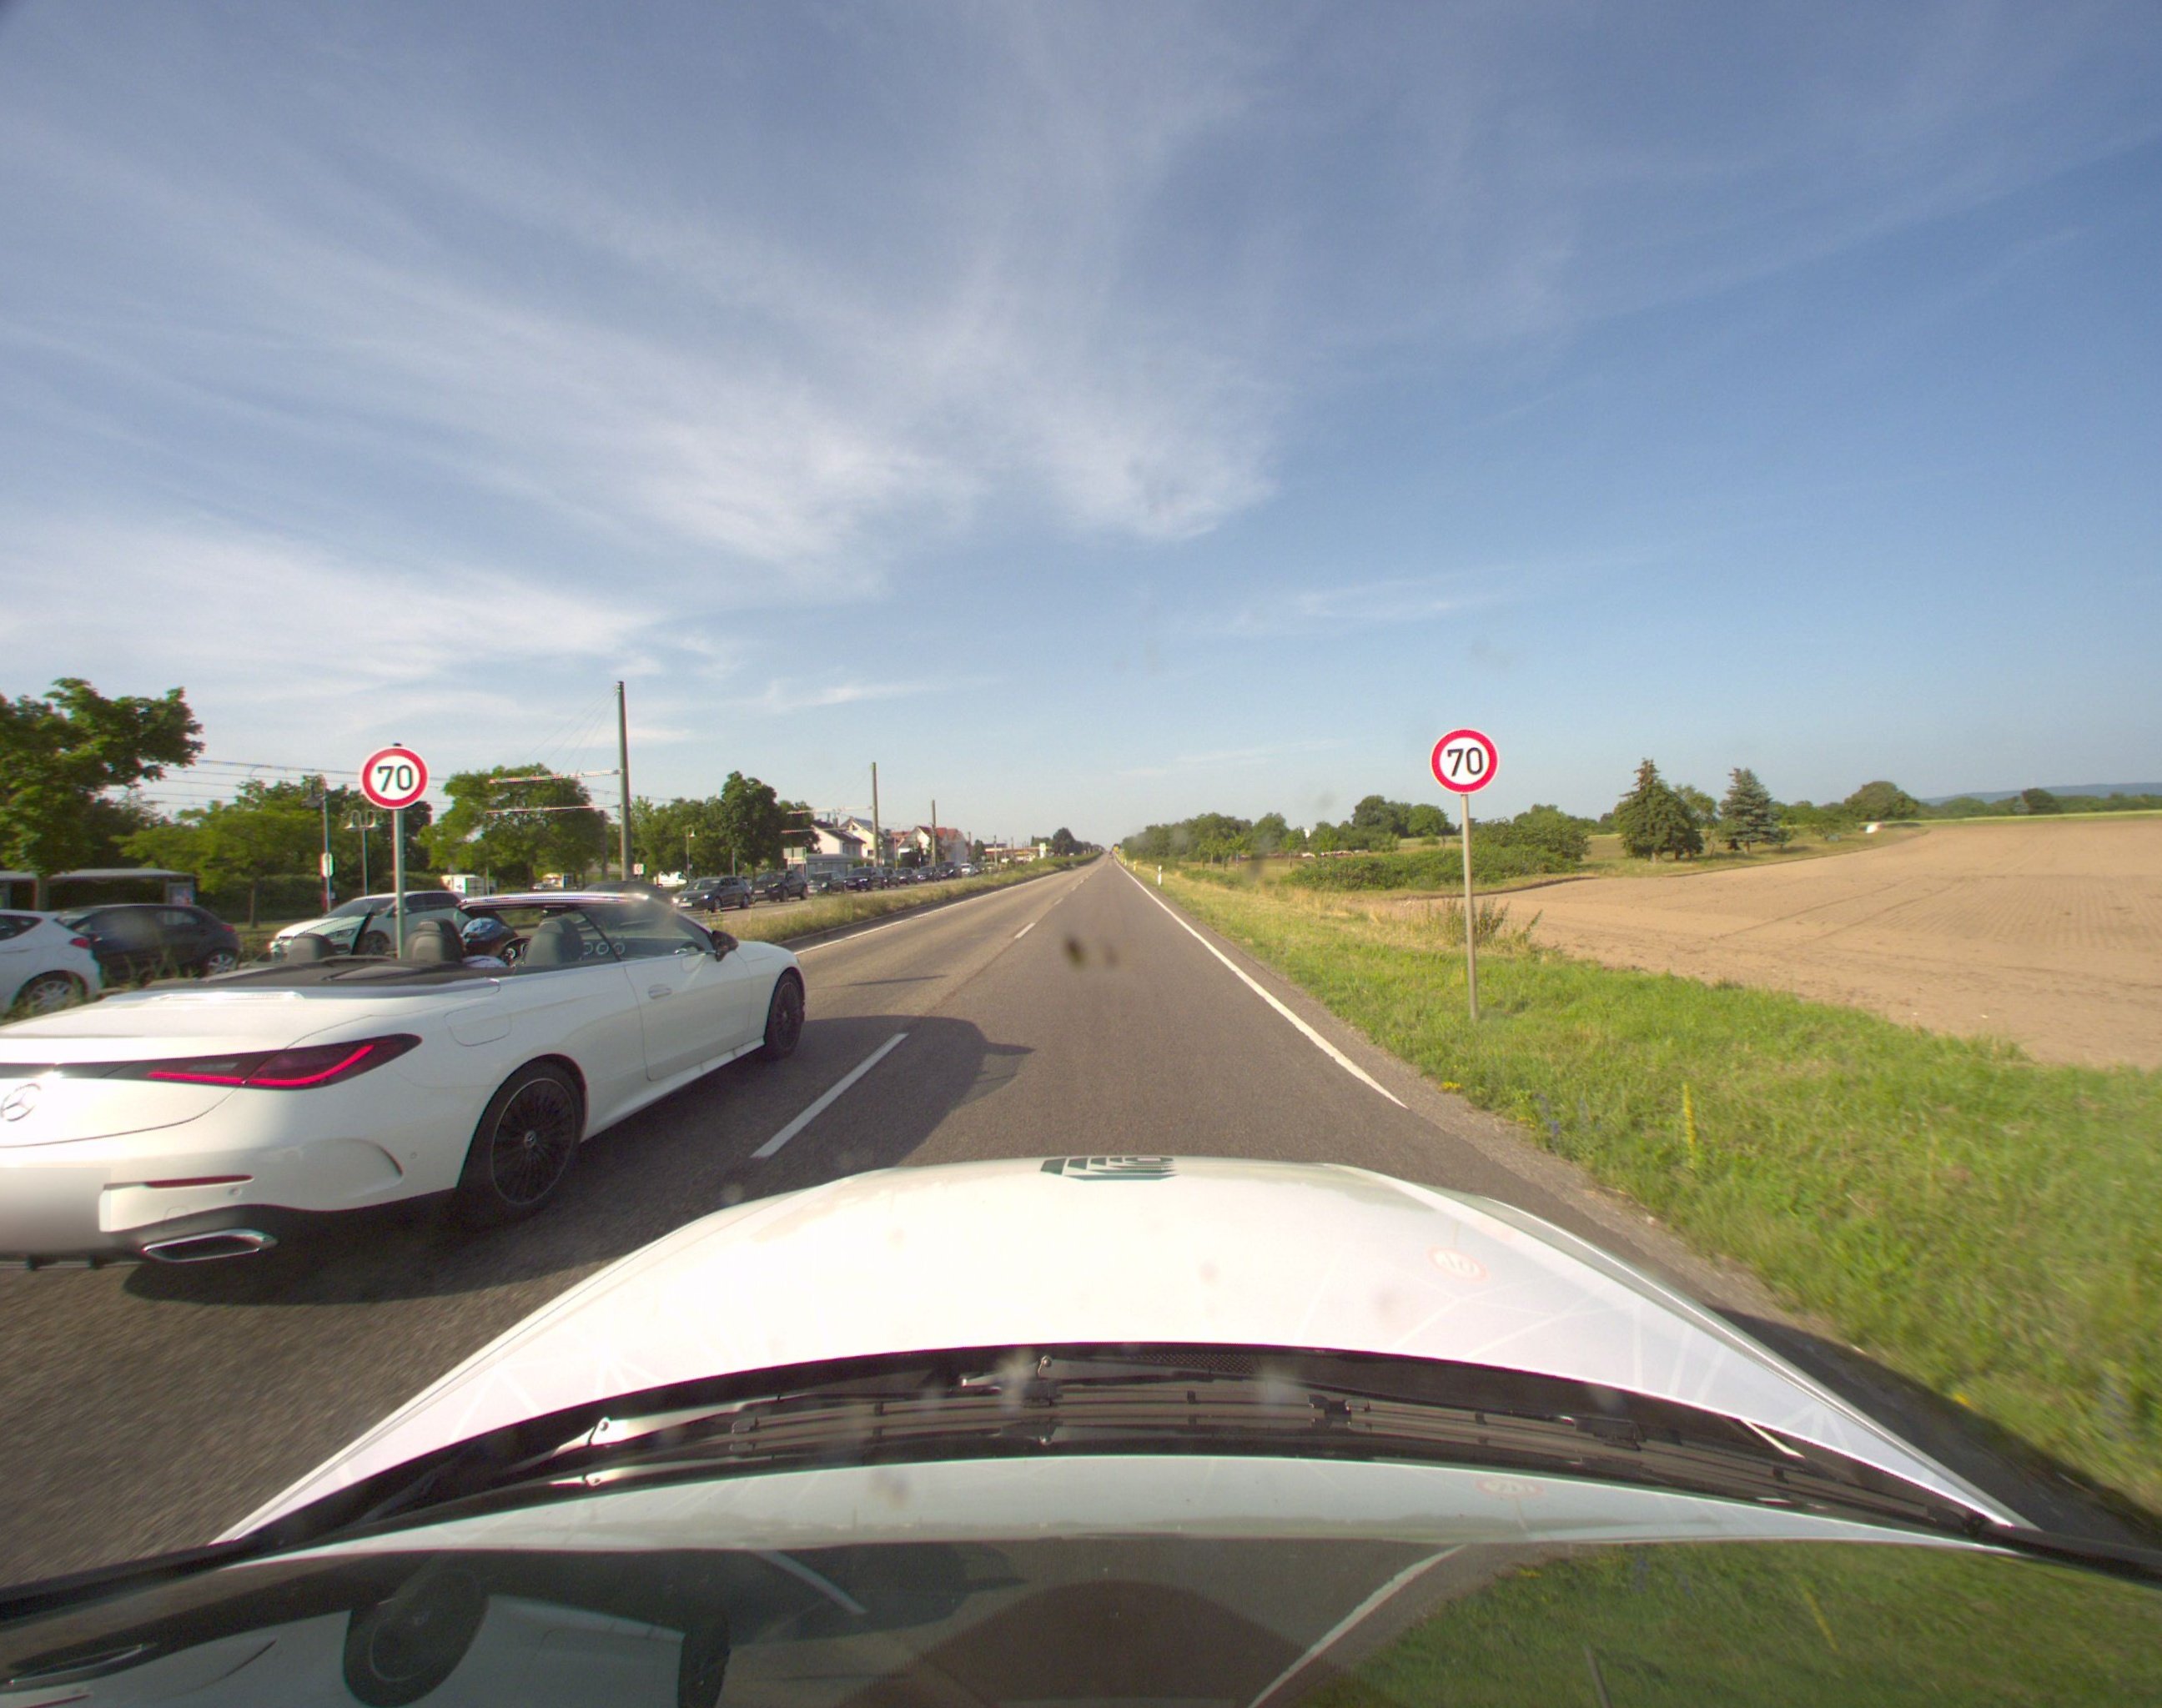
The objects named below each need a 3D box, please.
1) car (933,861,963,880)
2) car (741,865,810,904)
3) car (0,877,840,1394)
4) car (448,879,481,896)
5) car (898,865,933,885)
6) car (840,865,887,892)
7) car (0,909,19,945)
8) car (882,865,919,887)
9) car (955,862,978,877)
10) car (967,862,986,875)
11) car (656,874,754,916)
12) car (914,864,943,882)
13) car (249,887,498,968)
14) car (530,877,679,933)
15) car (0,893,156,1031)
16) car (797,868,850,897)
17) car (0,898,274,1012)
[{"bbox_3d":[-13.501,1.663,82.781,1.908,1.683,5.256,-4,0,2],"label":"car"},{"bbox_3d":[-15.239,1.486,40.826,1.654,1.687,4.231,-4,0,2],"label":"car"},{"bbox_3d":[-3.141,0.873,4.799,1.764,1.337,4.953,-1,0,2],"label":"car"},{"bbox_3d":[-60.380,3.276,79.732,3.575,1.366,1.746,-5,-1,39],"label":"car"},{"bbox_3d":[-13.550,1.665,66.986,1.654,1.431,4.719,-4,0,2],"label":"car"},{"bbox_3d":[-14.167,1.567,53.260,1.654,1.562,4.547,-4,0,2],"label":"car"},{"bbox_3d":[-55.285,3.697,40.915,3.948,1.662,2.013,-1,0,32],"label":"car"},{"bbox_3d":[-13.389,1.631,60.564,1.654,1.431,3.806,-4,0,2],"label":"car"},{"bbox_3d":[-12.877,1.742,91.731,1.654,1.431,4.450,-4,0,2],"label":"car"},{"bbox_3d":[-13.127,1.845,102.583,1.654,1.431,4.328,-4,0,2],"label":"car"},{"bbox_3d":[-15.128,1.591,33.033,1.654,1.381,4.543,-4,0,2],"label":"car"},{"bbox_3d":[-13.775,1.710,73.688,1.654,1.431,4.058,-4,0,2],"label":"car"},{"bbox_3d":[-15.995,1.593,18.793,1.654,1.381,4.470,-4,0,2],"label":"car"},{"bbox_3d":[-15.047,1.555,26.112,1.654,1.415,4.977,-4,0,2],"label":"car"},{"bbox_3d":[-12.959,1.287,8.370,1.811,1.470,4.296,-4,0,2],"label":"car"},{"bbox_3d":[-14.841,1.625,47.192,1.654,1.431,3.806,-4,0,2],"label":"car"},{"bbox_3d":[-15.758,1.553,12.984,1.654,1.381,4.002,-4,0,2],"label":"car"}]
